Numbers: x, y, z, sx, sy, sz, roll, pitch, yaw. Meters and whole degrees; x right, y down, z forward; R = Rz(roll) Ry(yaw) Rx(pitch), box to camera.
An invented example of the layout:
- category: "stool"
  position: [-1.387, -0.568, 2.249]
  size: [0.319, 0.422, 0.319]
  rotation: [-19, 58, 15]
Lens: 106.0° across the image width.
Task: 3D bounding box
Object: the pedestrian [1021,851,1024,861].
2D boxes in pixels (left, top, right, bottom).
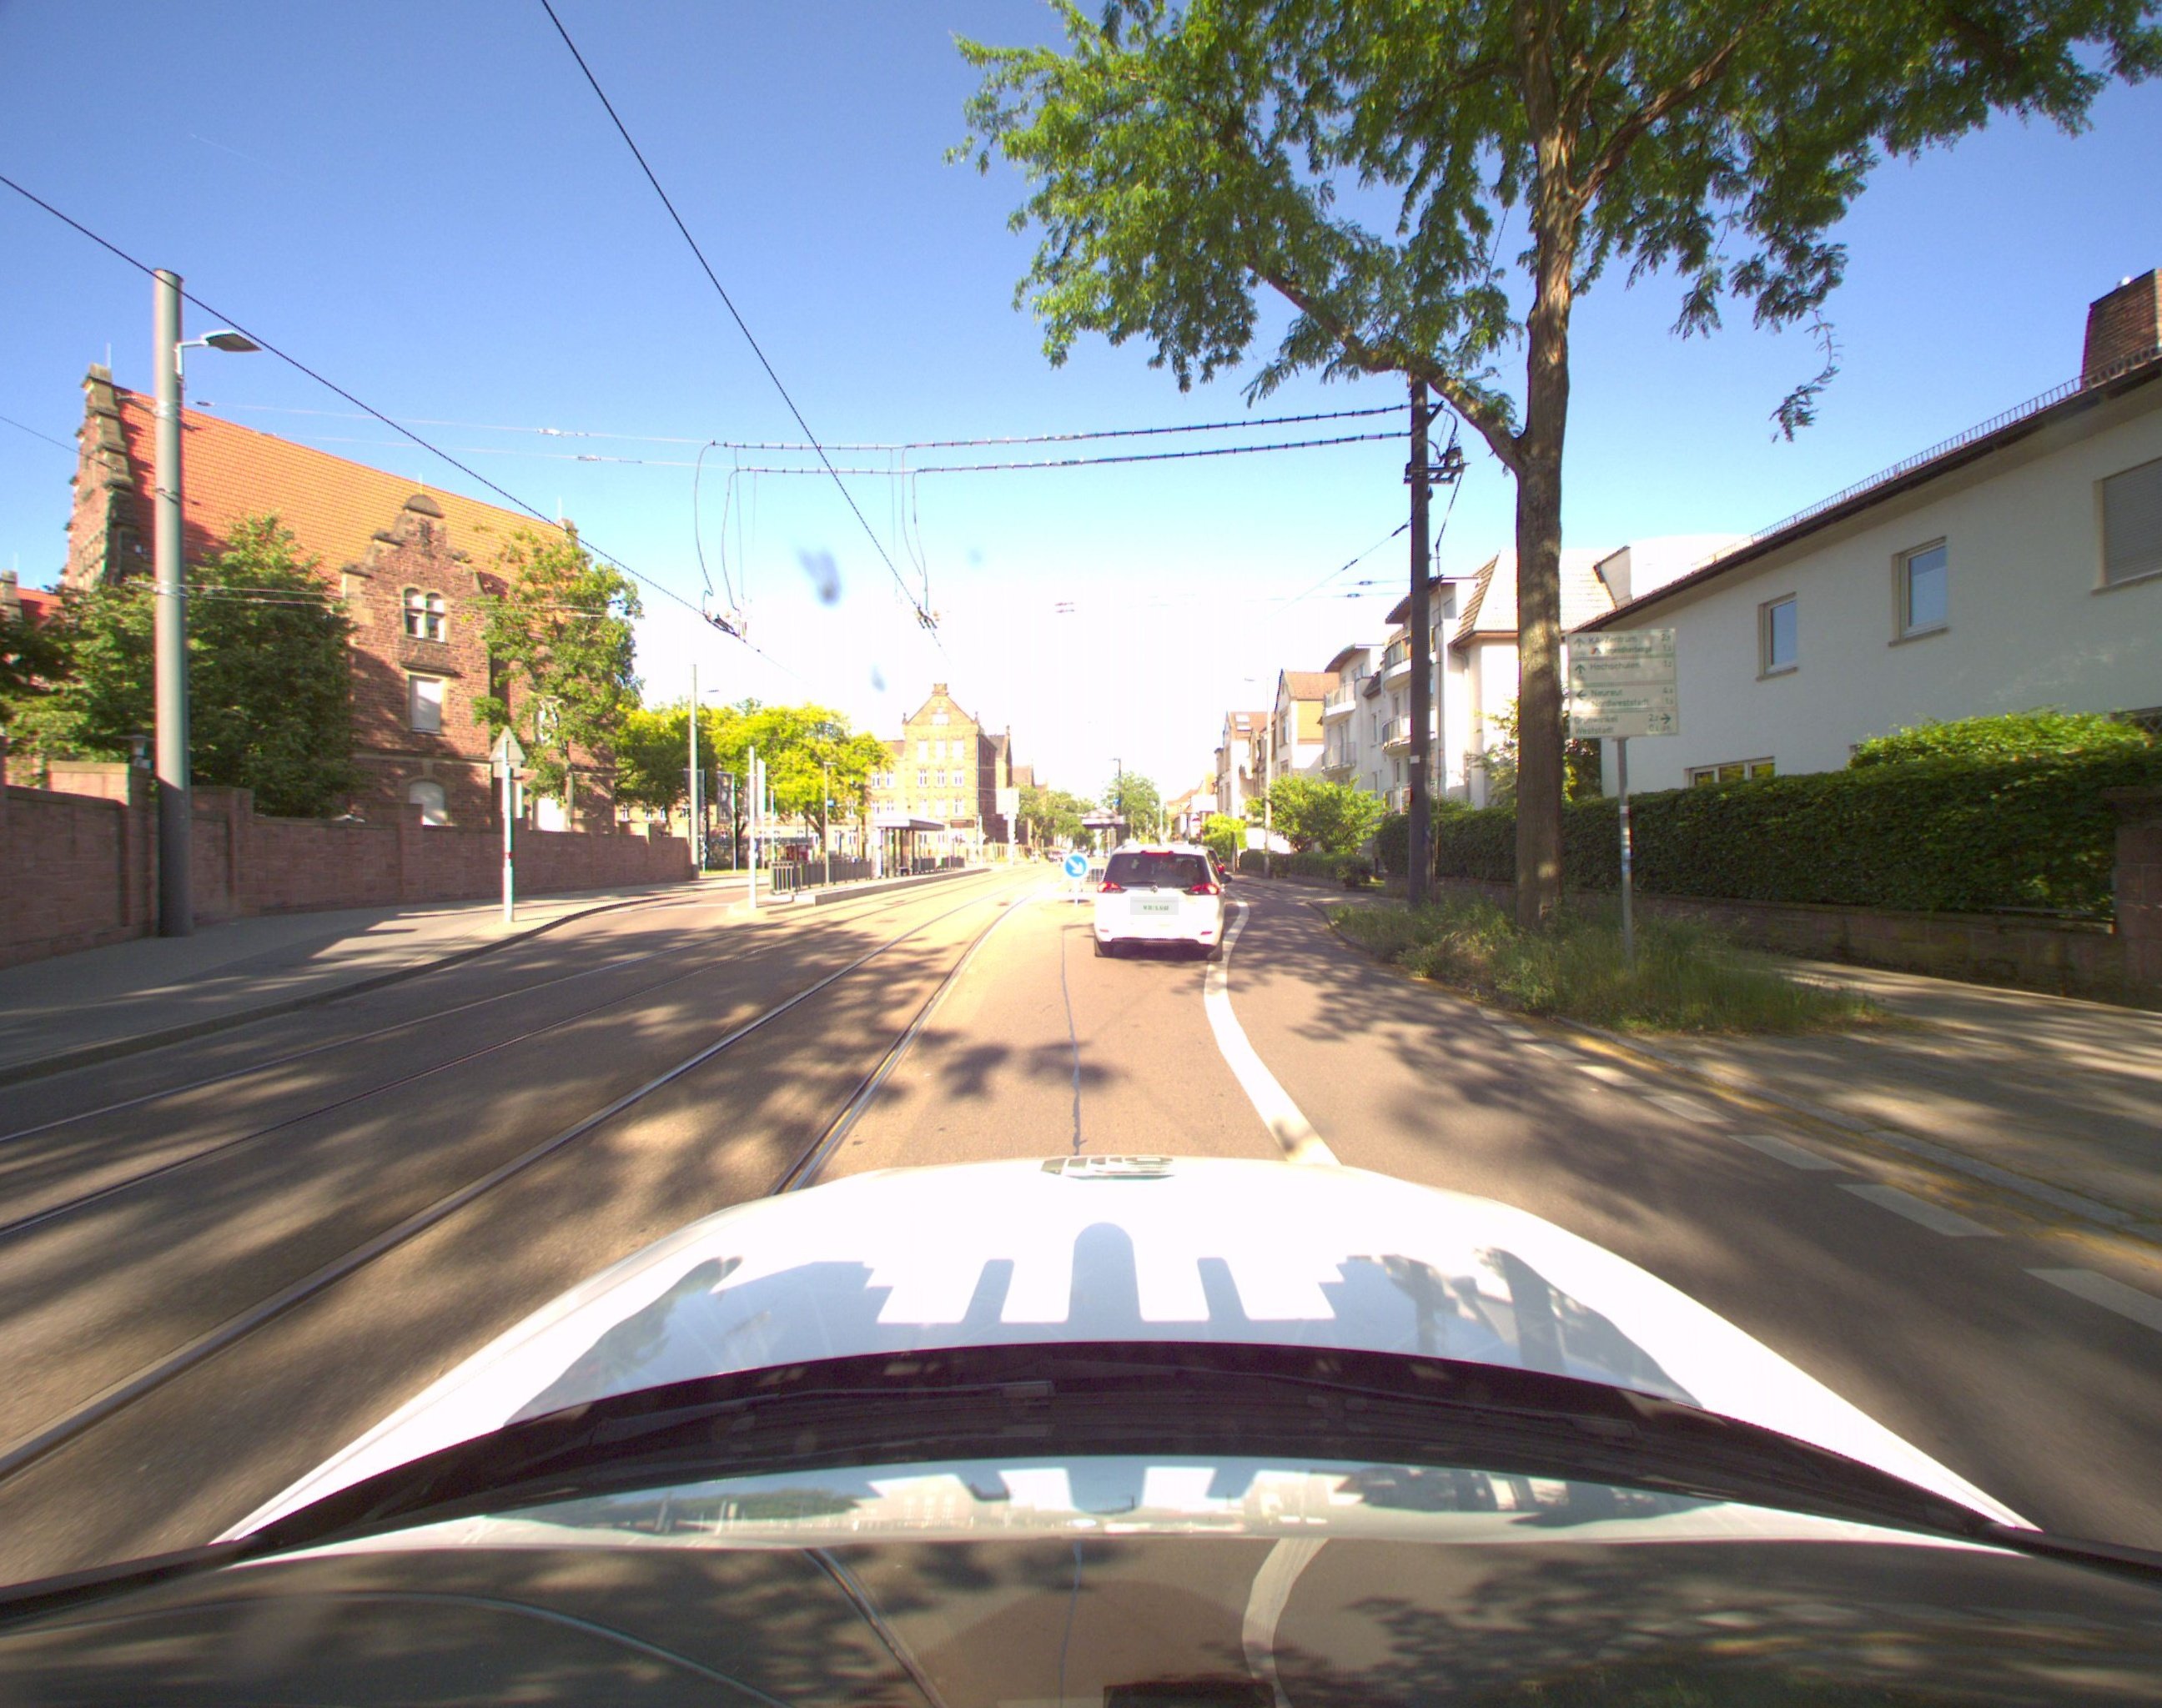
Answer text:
- category: "pedestrian"
  position: [-8.966, 0.301, 125.743]
  size: [0.360, 1.437, 0.550]
  rotation: [-1, 0, 4]

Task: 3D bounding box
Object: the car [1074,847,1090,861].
- category: "car"
  position: [0.107, 0.017, 112.752]
  size: [1.985, 1.913, 4.003]
  rotation: [-1, 0, 3]

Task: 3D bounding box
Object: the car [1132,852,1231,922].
- category: "car"
  position: [2.499, 0.710, 19.389]
  size: [1.980, 1.442, 4.013]
  rotation: [-1, 0, 11]

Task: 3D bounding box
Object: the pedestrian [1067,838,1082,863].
- category: "pedestrian"
  position: [-0.515, -0.297, 66.487]
  size: [1.152, 2.013, 1.119]
  rotation: [-2, 1, -1]

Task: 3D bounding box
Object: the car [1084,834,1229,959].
- category: "car"
  position: [1.343, 0.618, 12.779]
  size: [1.881, 1.611, 4.240]
  rotation: [-1, -2, 10]

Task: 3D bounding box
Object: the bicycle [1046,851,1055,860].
- category: "bicycle"
  position: [-4.141, 0.196, 111.263]
  size: [1.144, 1.297, 2.861]
  rotation: [-1, 0, 1]

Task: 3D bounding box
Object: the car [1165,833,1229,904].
- category: "car"
  position: [3.696, 0.413, 25.472]
  size: [1.697, 2.013, 3.919]
  rotation: [-1, 0, 12]

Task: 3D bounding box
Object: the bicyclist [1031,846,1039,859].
- category: "bicyclist"
  position: [-6.146, -0.253, 108.791]
  size: [0.940, 1.734, 0.861]
  rotation: [-1, 0, 1]

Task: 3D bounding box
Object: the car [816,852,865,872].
- category: "car"
  position: [-22.742, 0.737, 77.066]
  size: [3.977, 1.789, 1.998]
  rotation: [-1, 0, -3]

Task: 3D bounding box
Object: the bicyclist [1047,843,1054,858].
- category: "bicyclist"
  position: [-4.118, -0.424, 111.258]
  size: [0.948, 2.013, 0.823]
  rotation: [-1, 0, -1]

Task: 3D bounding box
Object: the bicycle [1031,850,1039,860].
- category: "bicycle"
  position: [-6.163, 0.074, 108.503]
  size: [0.818, 1.297, 2.678]
  rotation: [-1, 0, 1]

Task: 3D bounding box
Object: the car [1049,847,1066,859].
- category: "car"
  position: [-3.440, -0.156, 119.485]
  size: [1.983, 1.722, 4.008]
  rotation: [-1, 0, 7]
